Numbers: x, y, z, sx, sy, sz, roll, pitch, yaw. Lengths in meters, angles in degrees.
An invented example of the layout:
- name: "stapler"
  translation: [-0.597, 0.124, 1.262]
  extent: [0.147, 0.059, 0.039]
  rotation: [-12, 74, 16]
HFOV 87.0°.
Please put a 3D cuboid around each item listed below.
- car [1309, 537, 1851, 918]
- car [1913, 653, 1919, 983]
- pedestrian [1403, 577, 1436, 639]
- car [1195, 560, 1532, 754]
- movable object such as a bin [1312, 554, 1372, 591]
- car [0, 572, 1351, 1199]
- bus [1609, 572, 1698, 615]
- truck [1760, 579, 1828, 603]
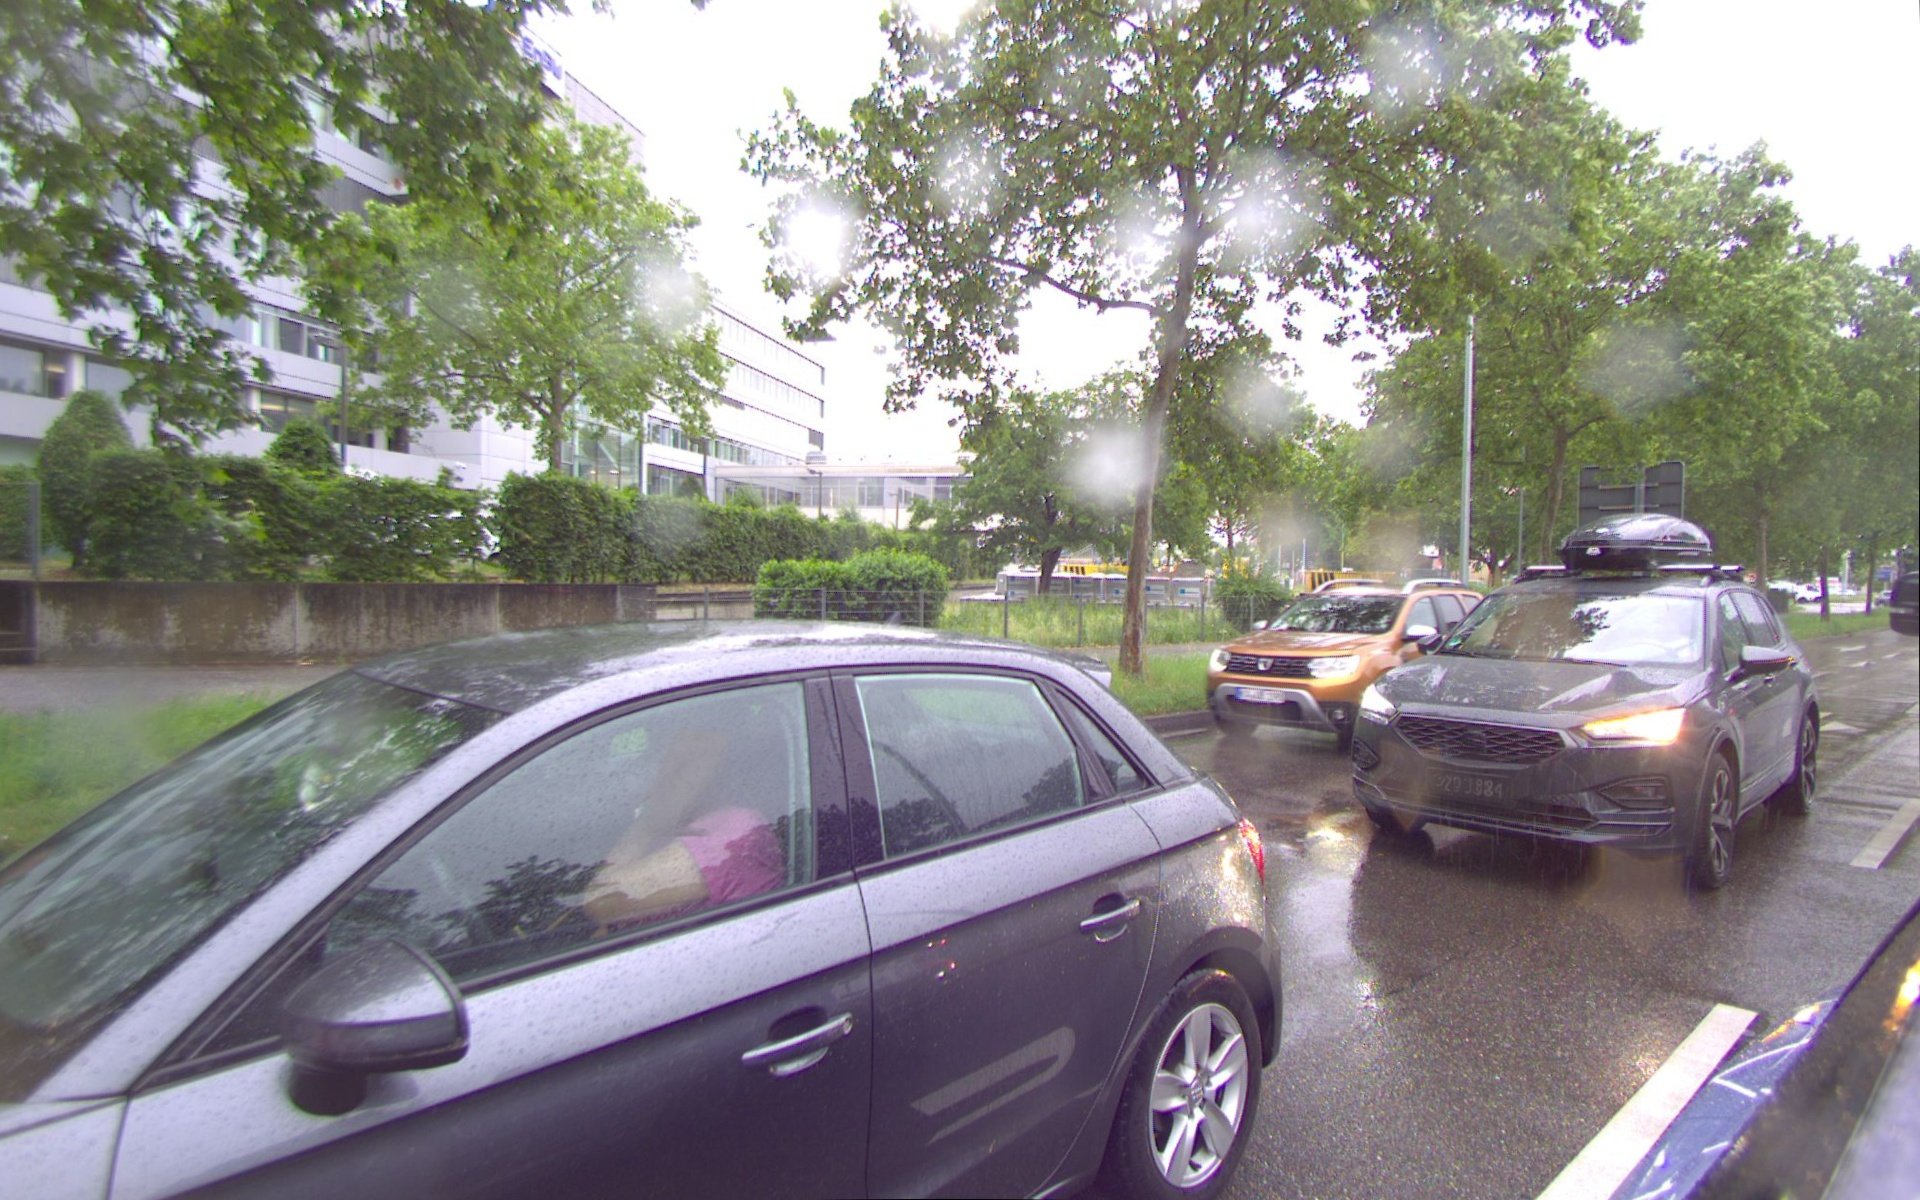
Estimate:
- name: "car"
  translation: [4.320, 0.550, 6.732]
  extent: [4.347, 1.719, 1.892]
  rotation: [0, 1, -42]
- name: "car"
  translation: [6.327, 0.181, 4.949]
  extent: [5.599, 2.544, 2.024]
  rotation: [0, 1, -43]
- name: "pedestrian"
  translation: [13.274, 0.225, 29.211]
  extent: [0.645, 1.738, 0.645]
  rotation: [0, 0, -40]
- name: "car"
  translation: [4.442, 0.526, 10.868]
  extent: [4.074, 1.707, 1.677]
  rotation: [1, -1, -41]
- name: "movable object such as a bin"
  translation: [36.182, -2.601, 95.932]
  extent: [4.844, 3.478, 1.918]
  rotation: [0, 0, 0]
- name: "car"
  translation: [-0.896, 0.681, 2.131]
  extent: [3.715, 1.446, 1.679]
  rotation: [0, 1, -41]
- name: "bus"
  translation: [43.735, -0.409, 63.907]
  extent: [1.681, 2.600, 4.366]
  rotation: [0, 0, -41]
- name: "truck"
  translation: [85.204, -0.903, 103.454]
  extent: [4.988, 2.406, 1.785]
  rotation: [0, 0, 19]
